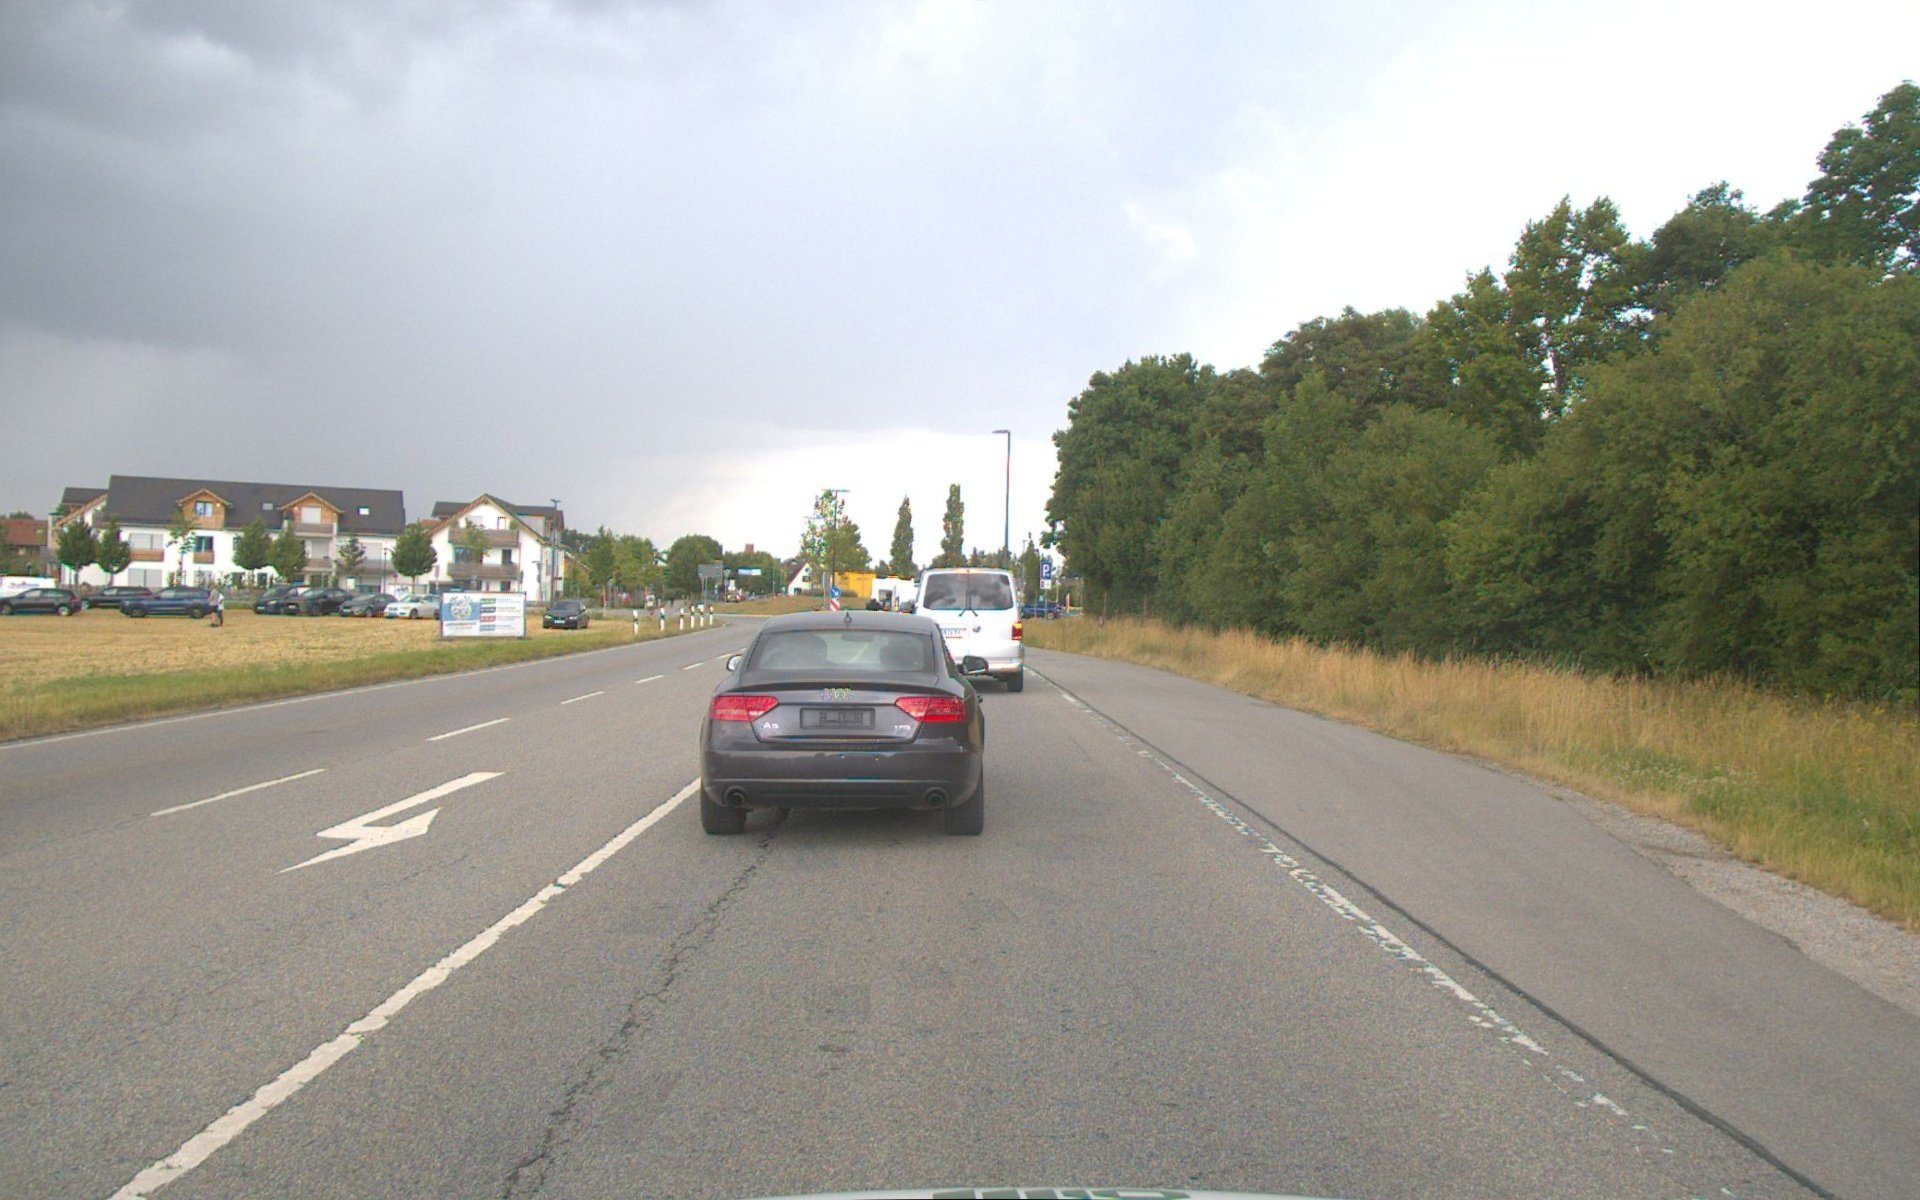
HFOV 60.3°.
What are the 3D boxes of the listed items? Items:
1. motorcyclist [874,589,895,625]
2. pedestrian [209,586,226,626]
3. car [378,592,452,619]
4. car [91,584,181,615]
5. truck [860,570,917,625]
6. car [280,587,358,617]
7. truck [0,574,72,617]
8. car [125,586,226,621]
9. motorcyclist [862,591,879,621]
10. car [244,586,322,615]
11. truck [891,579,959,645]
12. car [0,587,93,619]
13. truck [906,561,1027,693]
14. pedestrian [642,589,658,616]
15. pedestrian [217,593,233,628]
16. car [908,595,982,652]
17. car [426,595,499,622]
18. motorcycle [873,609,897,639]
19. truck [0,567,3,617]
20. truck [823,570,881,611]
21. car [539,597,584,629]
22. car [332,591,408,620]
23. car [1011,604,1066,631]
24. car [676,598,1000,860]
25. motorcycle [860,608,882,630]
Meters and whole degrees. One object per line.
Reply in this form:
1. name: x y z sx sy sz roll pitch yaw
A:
1. motorcyclist: -2.968 0.280 65.049 0.756 1.407 0.820 1 0 -2
2. pedestrian: -33.792 0.284 75.286 0.539 1.817 0.676 1 0 -12
3. car: -31.144 0.332 94.642 1.952 1.471 4.213 1 0 18
4. car: -49.395 -0.018 99.233 4.559 1.727 1.988 1 0 -21
5. truck: -3.927 -0.135 90.037 2.576 2.785 5.858 2 0 -7
6. car: -36.955 0.102 95.438 1.952 1.657 4.213 1 0 18
7. truck: -50.576 -0.268 88.053 5.490 2.235 2.588 1 0 -24
8. car: -41.519 0.197 87.623 4.647 1.727 1.988 1 0 -21
9. motorcyclist: -4.242 0.286 78.764 0.770 1.380 0.853 1 0 -3
10. car: -39.873 0.029 97.506 1.952 1.657 4.213 1 0 18
11. truck: -1.123 0.394 55.467 2.149 2.049 5.084 1 0 0
12. car: -47.031 0.140 85.060 4.095 1.545 1.988 1 0 -21
13. truck: 0.093 0.417 28.201 1.865 2.033 4.628 1 0 0
14. pedestrian: -18.502 0.151 98.843 0.686 1.613 0.658 1 0 16
15. pedestrian: -33.905 0.469 76.270 0.580 1.583 0.622 1 0 -19
16. car: -0.446 0.634 46.295 1.953 1.511 3.999 1 0 -1
17. car: -28.302 0.469 94.275 1.952 1.471 4.213 1 0 18
18. motorcycle: -2.962 0.940 65.038 0.901 1.113 2.187 1 0 -3
19. truck: -49.850 -0.452 80.483 5.375 2.489 2.377 1 0 -24
20. truck: -10.057 -0.918 153.174 3.516 3.641 9.918 2 0 -15
21. car: -19.717 0.614 81.877 1.958 1.467 3.989 1 1 -11
22. car: -33.844 0.306 95.060 1.952 1.562 4.213 1 0 18
23. car: 6.333 1.377 133.183 3.904 2.049 2.000 2 0 20
24. car: -0.716 0.736 11.544 1.837 1.479 4.176 1 0 -1
25. motorcycle: -4.225 0.899 78.720 0.925 1.037 2.283 1 0 -2
